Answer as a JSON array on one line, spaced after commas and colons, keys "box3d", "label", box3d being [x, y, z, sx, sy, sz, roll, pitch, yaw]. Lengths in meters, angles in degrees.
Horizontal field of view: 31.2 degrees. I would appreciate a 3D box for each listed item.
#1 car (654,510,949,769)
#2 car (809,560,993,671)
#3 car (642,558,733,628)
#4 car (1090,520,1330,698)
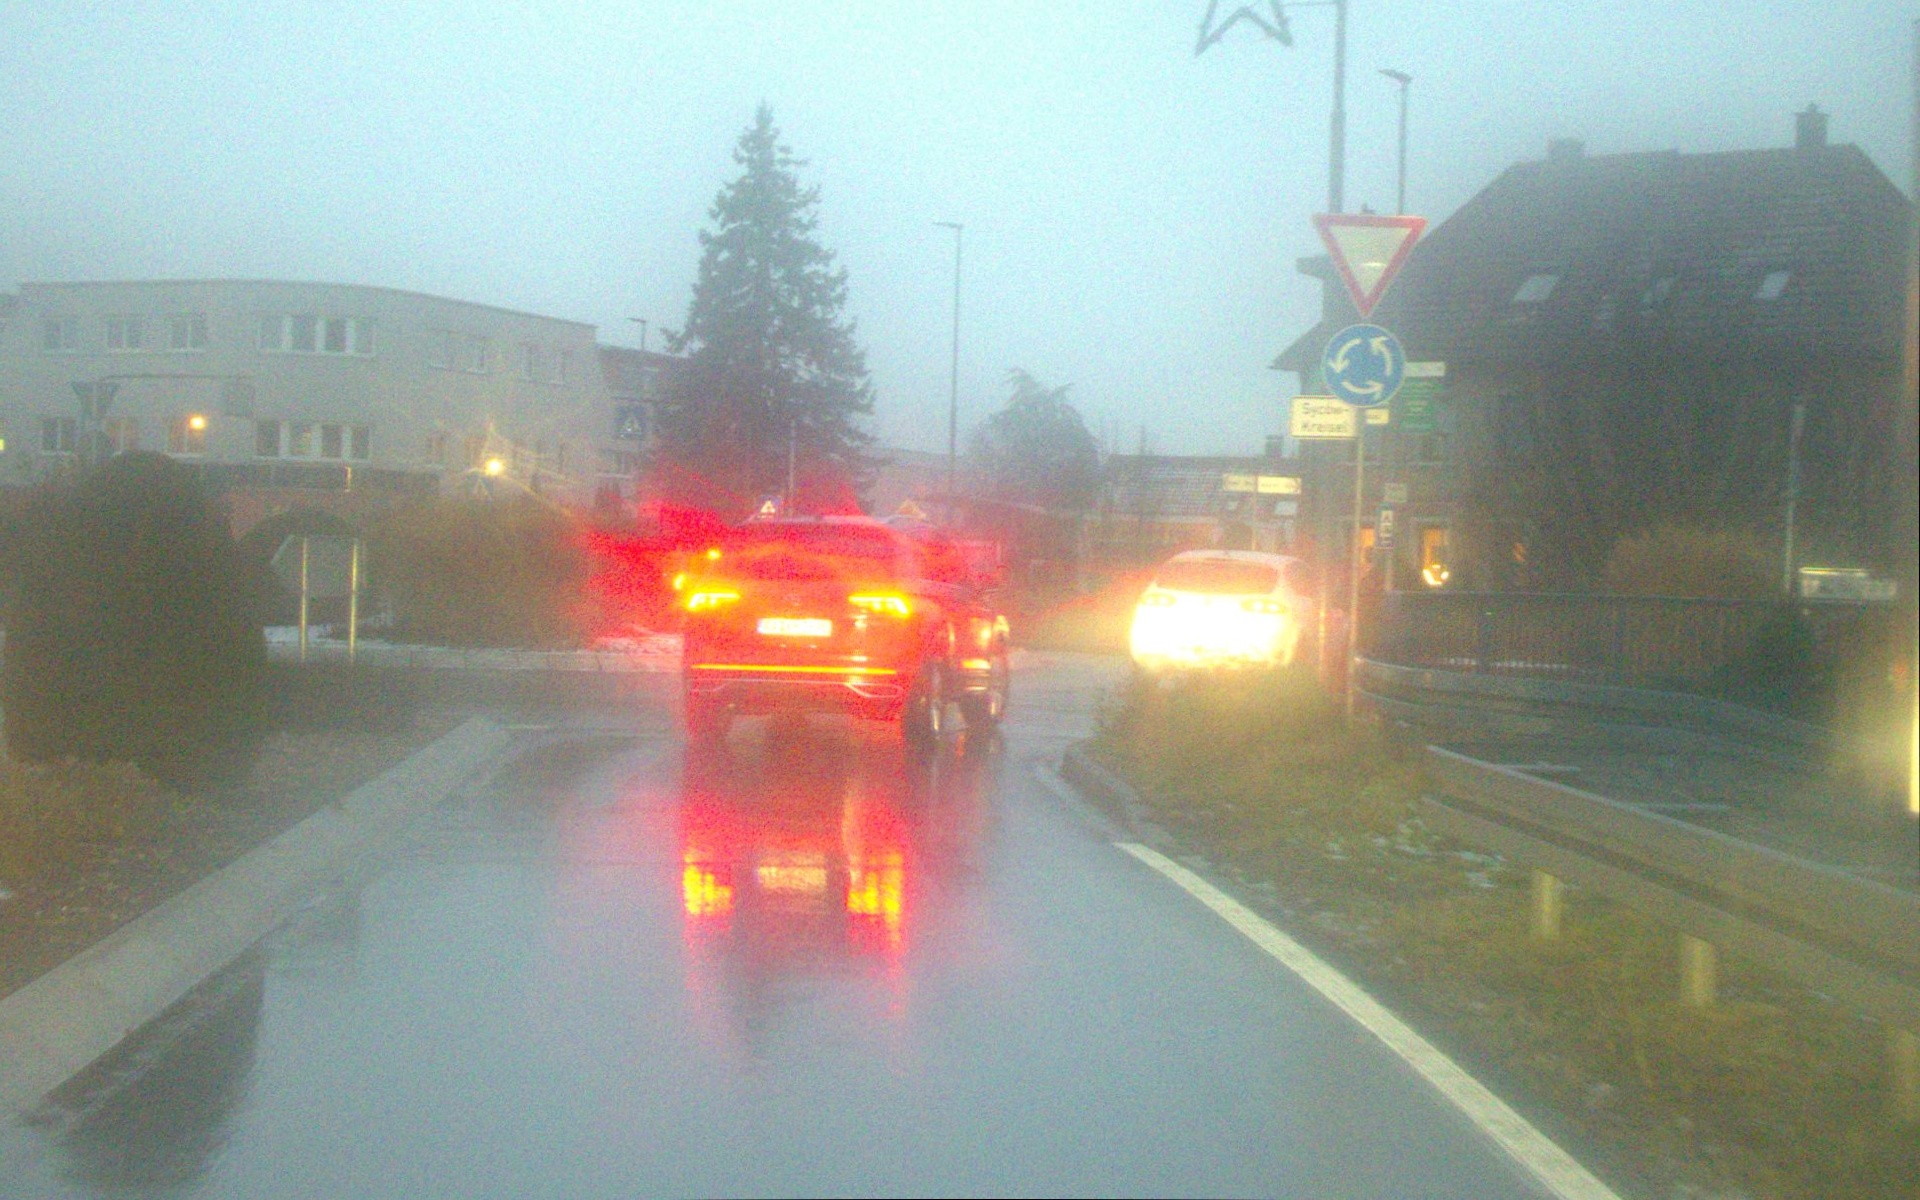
[{"box3d": [-1.097, 0.244, 25.637, 1.944, 1.712, 4.000, 2, 1, 0], "label": "car"}, {"box3d": [-0.973, 0.257, 53.343, 1.882, 1.609, 4.572, 1, -1, -13], "label": "car"}, {"box3d": [-6.207, -0.166, 77.937, 1.772, 1.539, 4.001, 1, 0, -9], "label": "car"}, {"box3d": [2.734, 0.034, 36.604, 2.164, 1.683, 4.570, 2, 2, 9], "label": "car"}]
